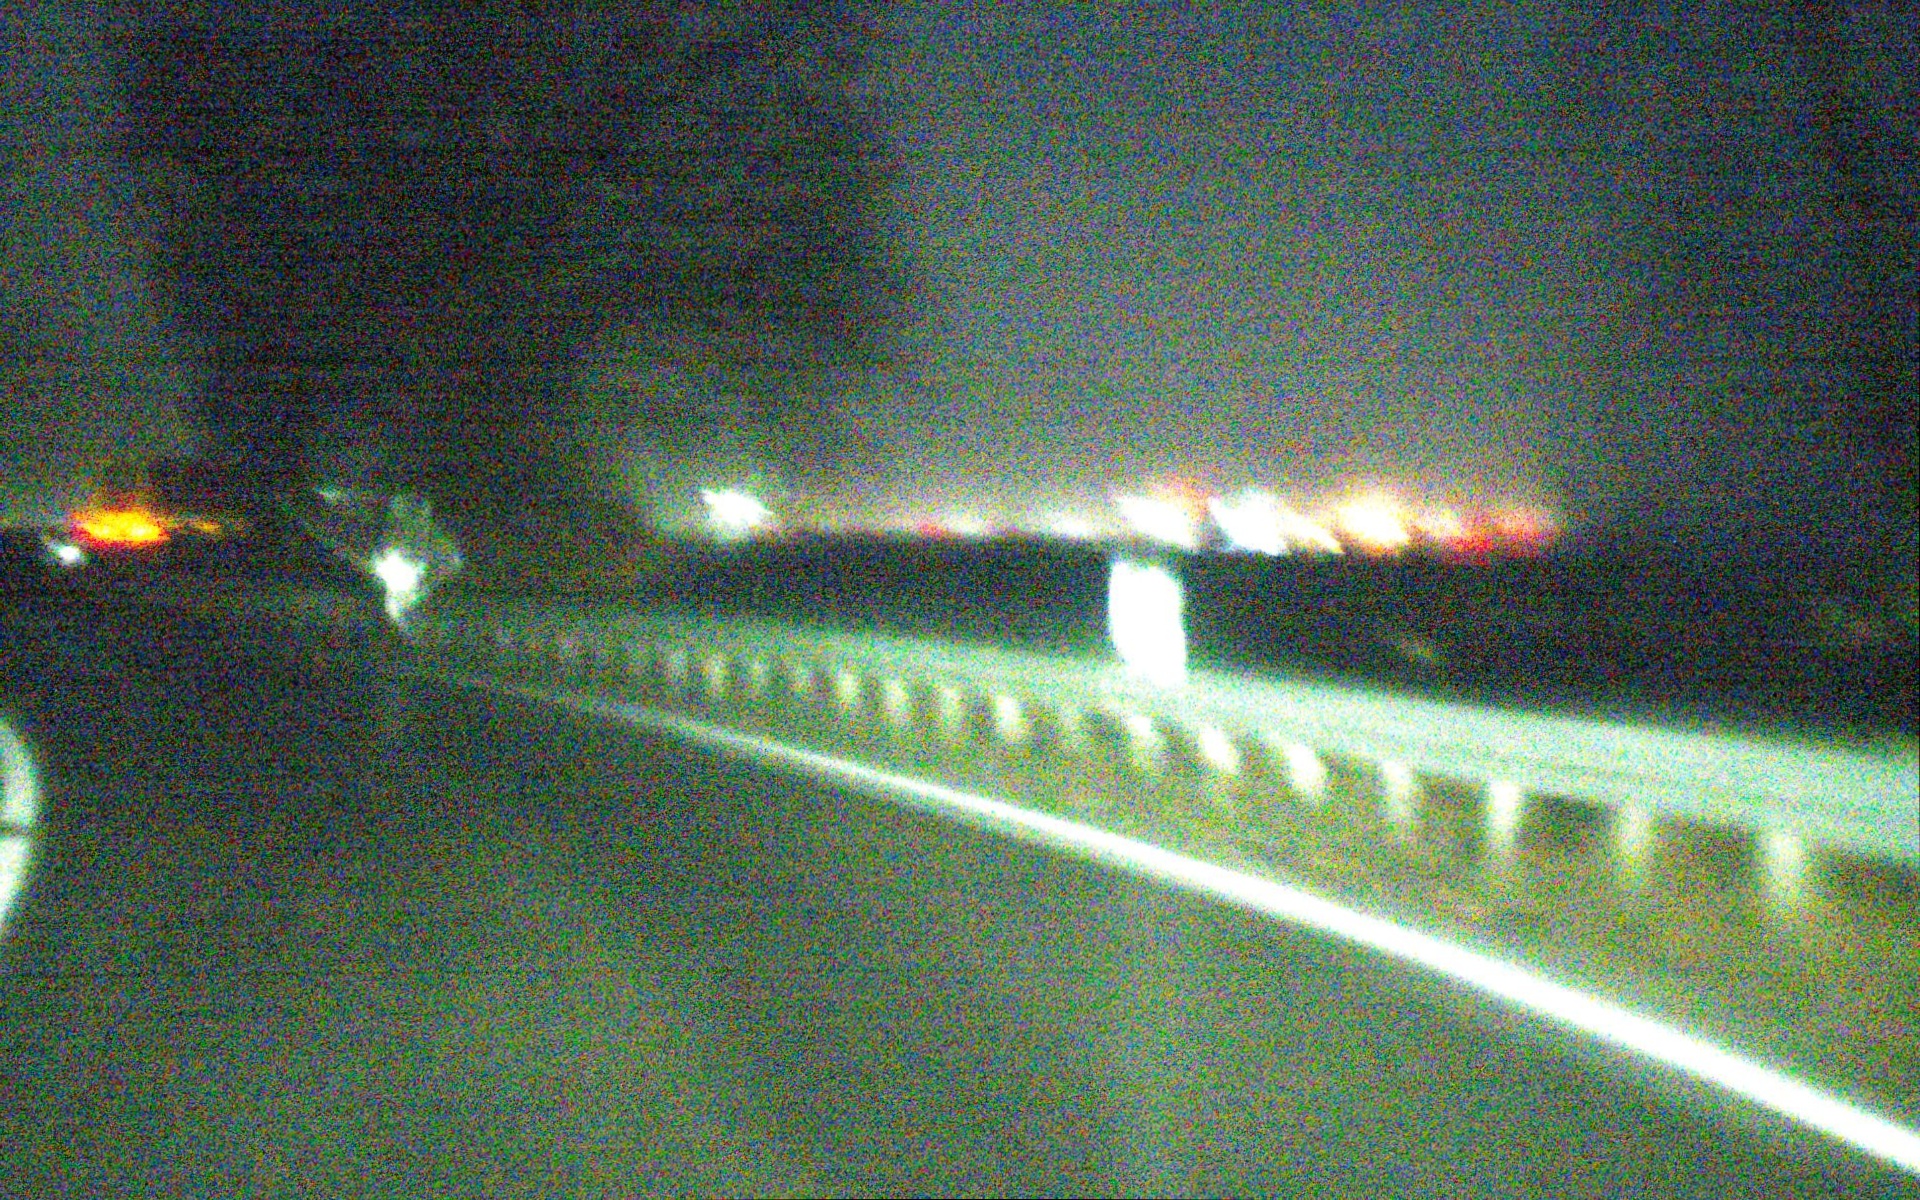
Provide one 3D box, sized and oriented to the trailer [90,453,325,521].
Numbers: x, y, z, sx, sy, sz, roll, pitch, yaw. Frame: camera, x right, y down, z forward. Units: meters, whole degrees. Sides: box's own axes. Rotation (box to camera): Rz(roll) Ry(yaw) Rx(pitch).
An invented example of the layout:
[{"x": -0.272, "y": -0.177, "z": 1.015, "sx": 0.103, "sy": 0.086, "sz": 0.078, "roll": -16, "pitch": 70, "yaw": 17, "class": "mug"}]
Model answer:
[{"x": -34.726, "y": -5.187, "z": 159.476, "sx": 2.692, "sy": 2.690, "sz": 12.836, "roll": 3, "pitch": 2, "yaw": 29, "class": "trailer"}]
